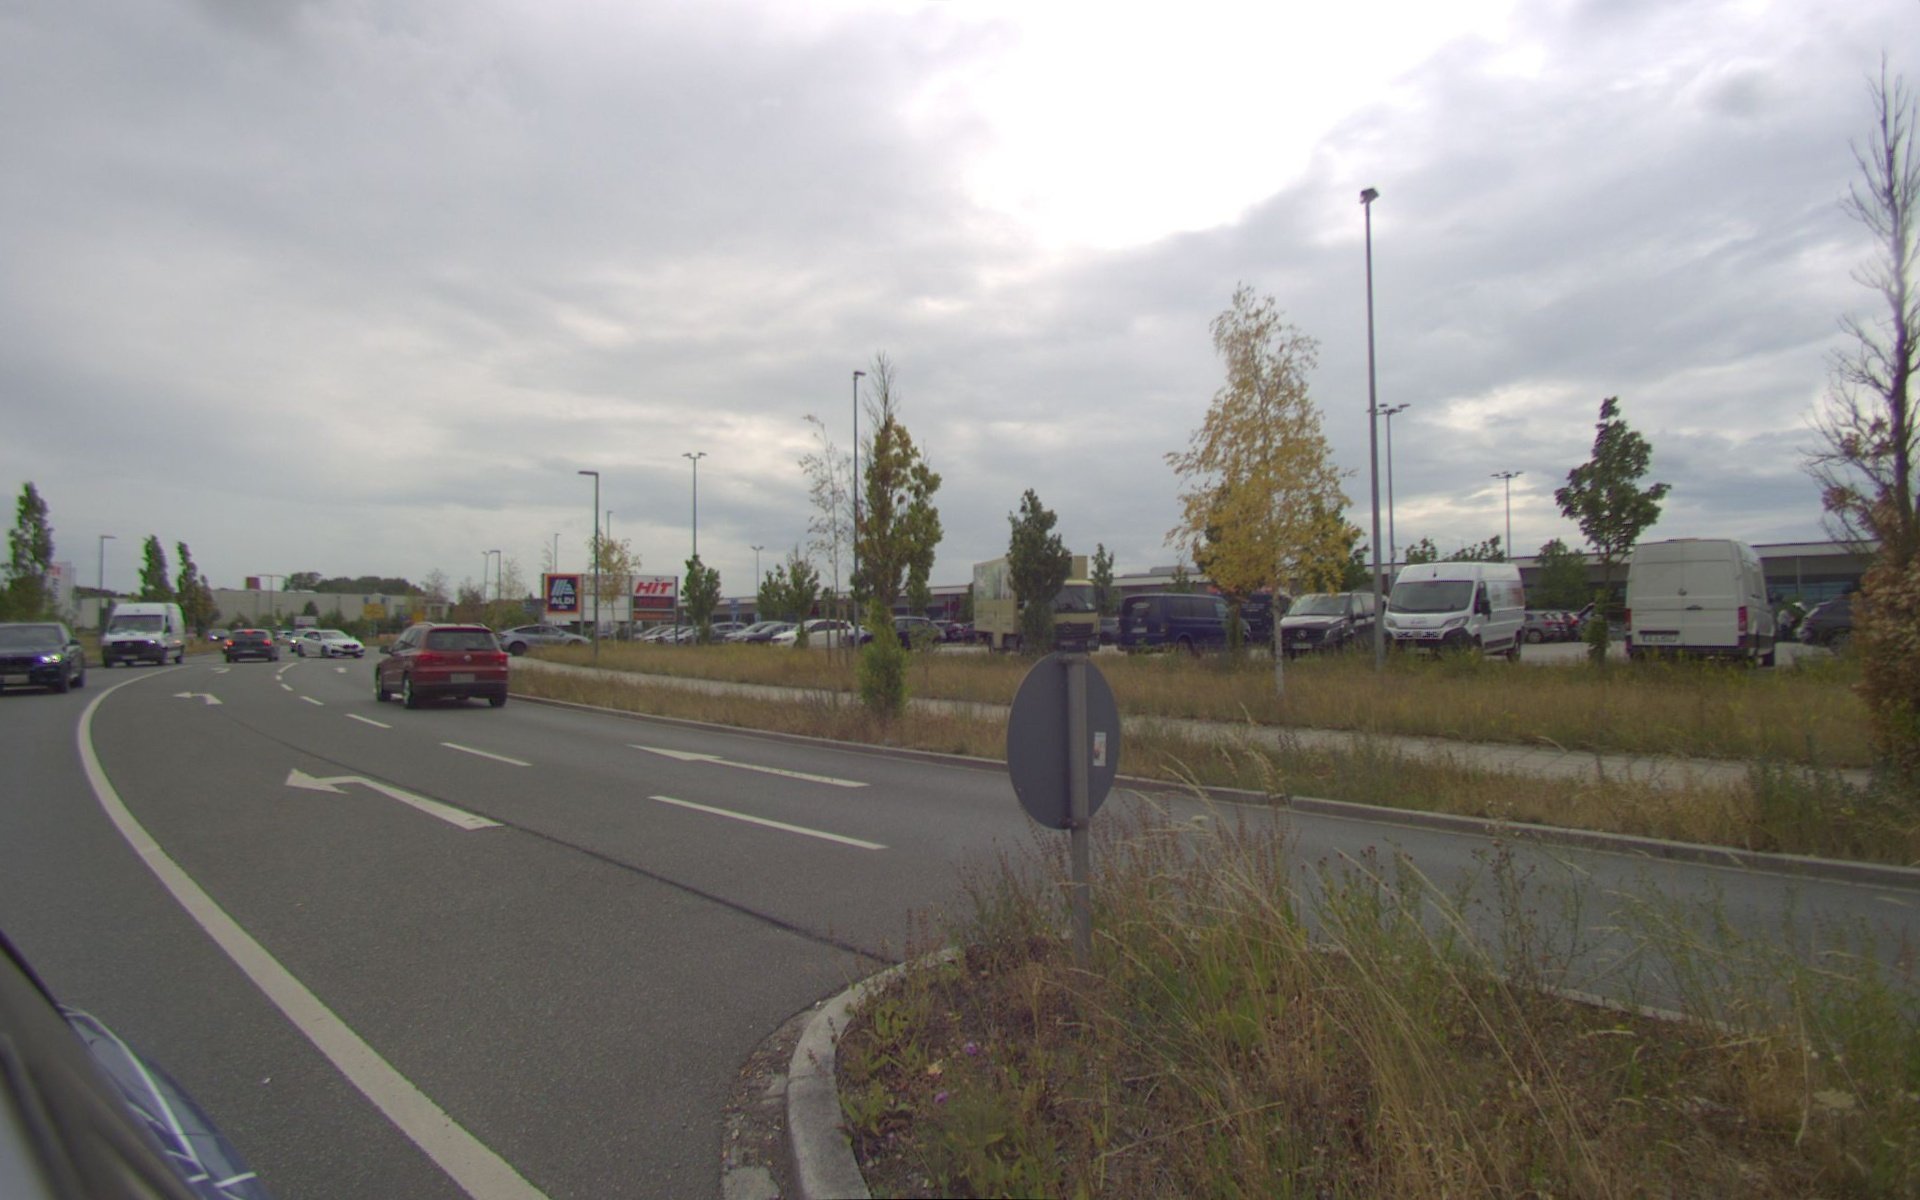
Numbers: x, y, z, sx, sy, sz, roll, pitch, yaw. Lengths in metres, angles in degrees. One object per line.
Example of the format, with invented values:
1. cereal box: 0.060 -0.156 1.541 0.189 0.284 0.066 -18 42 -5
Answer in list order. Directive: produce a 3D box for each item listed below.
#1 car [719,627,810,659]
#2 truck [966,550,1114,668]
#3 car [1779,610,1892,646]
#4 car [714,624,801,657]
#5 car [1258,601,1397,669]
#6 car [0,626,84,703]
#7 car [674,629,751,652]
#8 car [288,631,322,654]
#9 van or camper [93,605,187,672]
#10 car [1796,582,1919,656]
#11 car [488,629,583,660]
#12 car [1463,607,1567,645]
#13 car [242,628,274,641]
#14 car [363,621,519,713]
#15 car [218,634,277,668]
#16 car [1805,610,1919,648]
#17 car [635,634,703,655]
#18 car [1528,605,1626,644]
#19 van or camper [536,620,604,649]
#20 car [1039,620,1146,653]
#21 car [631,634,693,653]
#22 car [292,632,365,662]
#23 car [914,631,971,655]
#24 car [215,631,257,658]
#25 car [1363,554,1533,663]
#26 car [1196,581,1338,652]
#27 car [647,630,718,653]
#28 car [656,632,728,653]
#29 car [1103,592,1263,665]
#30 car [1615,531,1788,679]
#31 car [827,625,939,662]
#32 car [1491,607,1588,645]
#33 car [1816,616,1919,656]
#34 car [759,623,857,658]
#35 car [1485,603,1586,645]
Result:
1. car: -10.150 2.205 52.556 4.183 1.525 2.052 0 -2 -29
2. truck: 2.477 0.403 34.965 2.812 3.568 8.448 0 -2 -11
3. car: 42.102 1.361 48.798 3.997 1.663 1.973 -2 -3 40
4. car: -11.027 2.169 55.151 4.184 1.736 2.034 1 -2 -34
5. car: 9.809 0.915 26.784 1.992 1.629 4.853 -2 -3 39
6. car: -22.283 1.493 23.929 1.967 1.677 4.010 0 -2 -35
7. car: -15.571 2.527 63.661 4.296 1.402 2.172 1 -3 -28
8. car: -42.065 2.750 65.048 1.679 1.449 4.044 1 -3 -31
9. van or camper: -34.185 1.631 42.360 2.227 2.637 5.713 1 -3 -31
10. car: 27.026 0.552 29.016 4.634 2.048 1.974 -2 -3 40
11. car: -22.464 2.355 53.755 4.533 1.573 2.006 0 -3 -20
12. car: 25.589 1.208 46.714 3.992 1.684 1.975 -2 -2 36
13. car: -111.926 5.486 161.447 1.631 2.029 3.970 -2 -2 22
14. car: -10.726 1.347 20.757 1.776 1.682 4.332 5 -5 -41
15. car: -31.541 2.239 44.889 1.804 1.431 4.258 1 -2 -31
16. car: 41.051 1.321 46.009 3.997 1.663 1.973 -2 -3 40
17. car: -20.843 3.170 72.497 4.258 1.468 2.016 1 -3 -30
18. car: 33.165 1.349 54.454 1.967 2.029 4.009 2 -3 -36
19. van or camper: -38.560 3.432 100.161 5.777 2.821 2.248 2 -2 -38
20. car: 6.865 1.944 52.782 5.266 1.619 1.974 -2 -3 39
21. car: -21.984 3.193 74.713 4.027 1.402 2.006 1 -3 -28
22. car: -33.283 2.453 53.297 4.186 1.480 1.862 -1 -2 37
23. car: -1.292 3.093 73.643 3.999 1.700 1.885 -2 -3 42
24. car: -45.446 2.771 63.516 1.730 1.597 4.005 1 -2 -42
25. car: 11.983 0.264 24.591 2.209 2.324 6.005 -2 -2 41
26. car: 12.457 0.733 41.245 5.134 2.711 2.040 -2 -3 35
27. car: -19.072 2.856 69.671 4.304 1.517 2.246 1 -3 -29
28. car: -17.741 2.813 67.024 4.253 1.350 2.032 1 -3 -32
29. car: 6.699 0.854 30.110 4.841 2.005 2.182 1 -3 -41
30. car: 15.546 0.174 21.041 2.243 2.618 6.339 -2 -2 42
31. car: -3.170 1.785 41.691 4.175 1.446 2.002 1 -3 -35
32. car: 30.407 1.396 53.193 1.969 1.912 4.005 1 -2 -42
33. car: 39.904 1.584 44.055 3.998 1.663 1.973 -2 -3 41
34. car: -7.203 1.939 48.147 4.192 1.571 1.993 2 -3 -39
35. car: 28.989 1.211 51.037 1.969 2.029 4.005 1 -2 -42
